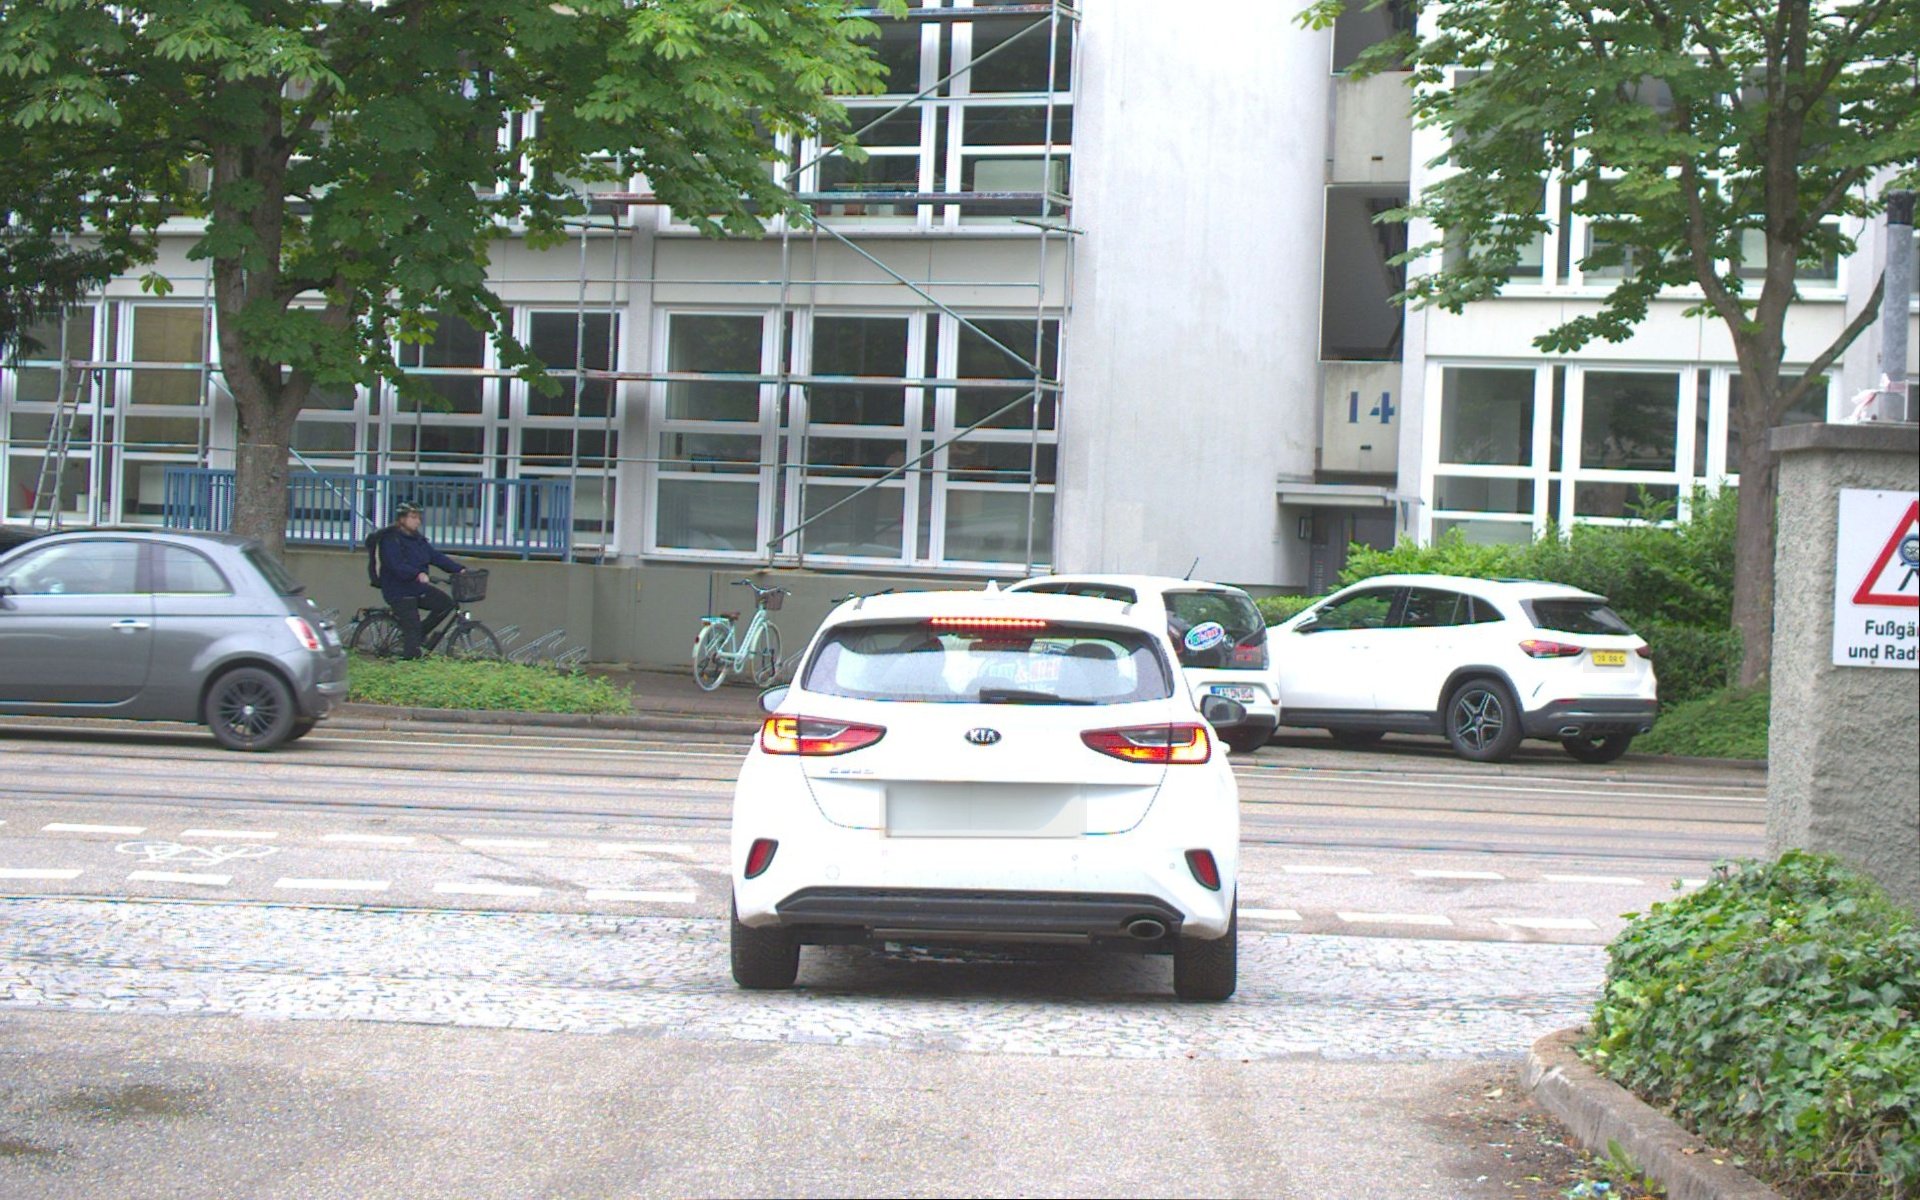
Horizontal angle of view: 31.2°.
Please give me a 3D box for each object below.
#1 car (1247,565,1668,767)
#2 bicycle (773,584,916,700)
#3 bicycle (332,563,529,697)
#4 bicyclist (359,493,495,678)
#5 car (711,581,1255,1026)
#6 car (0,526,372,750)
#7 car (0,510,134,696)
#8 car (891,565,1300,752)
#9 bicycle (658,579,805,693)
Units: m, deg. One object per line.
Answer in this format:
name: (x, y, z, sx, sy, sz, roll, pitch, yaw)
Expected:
car: (4.354, 0.545, 30.360, 1.552, 1.612, 3.406, 1, 1, -44)
bicycle: (-1.183, 0.422, 35.838, 0.645, 1.071, 2.310, 3, 3, 20)
bicycle: (-5.007, 0.274, 32.444, 1.914, 1.170, 0.819, 3, 1, 45)
bicyclist: (-5.036, -0.137, 32.469, 0.832, 1.692, 0.896, 2, 1, -45)
car: (0.175, 0.727, 13.439, 1.776, 1.428, 3.978, 2, -2, 3)
car: (-5.878, 0.225, 23.656, 3.419, 1.415, 1.521, 2, 1, -3)
car: (-8.690, -0.015, 29.317, 3.335, 1.506, 1.614, 2, 1, 43)
car: (1.143, 0.483, 29.991, 1.552, 1.468, 3.406, 1, 1, -44)
bicycle: (-2.392, 0.361, 36.316, 0.645, 1.071, 2.310, 3, 3, 20)
